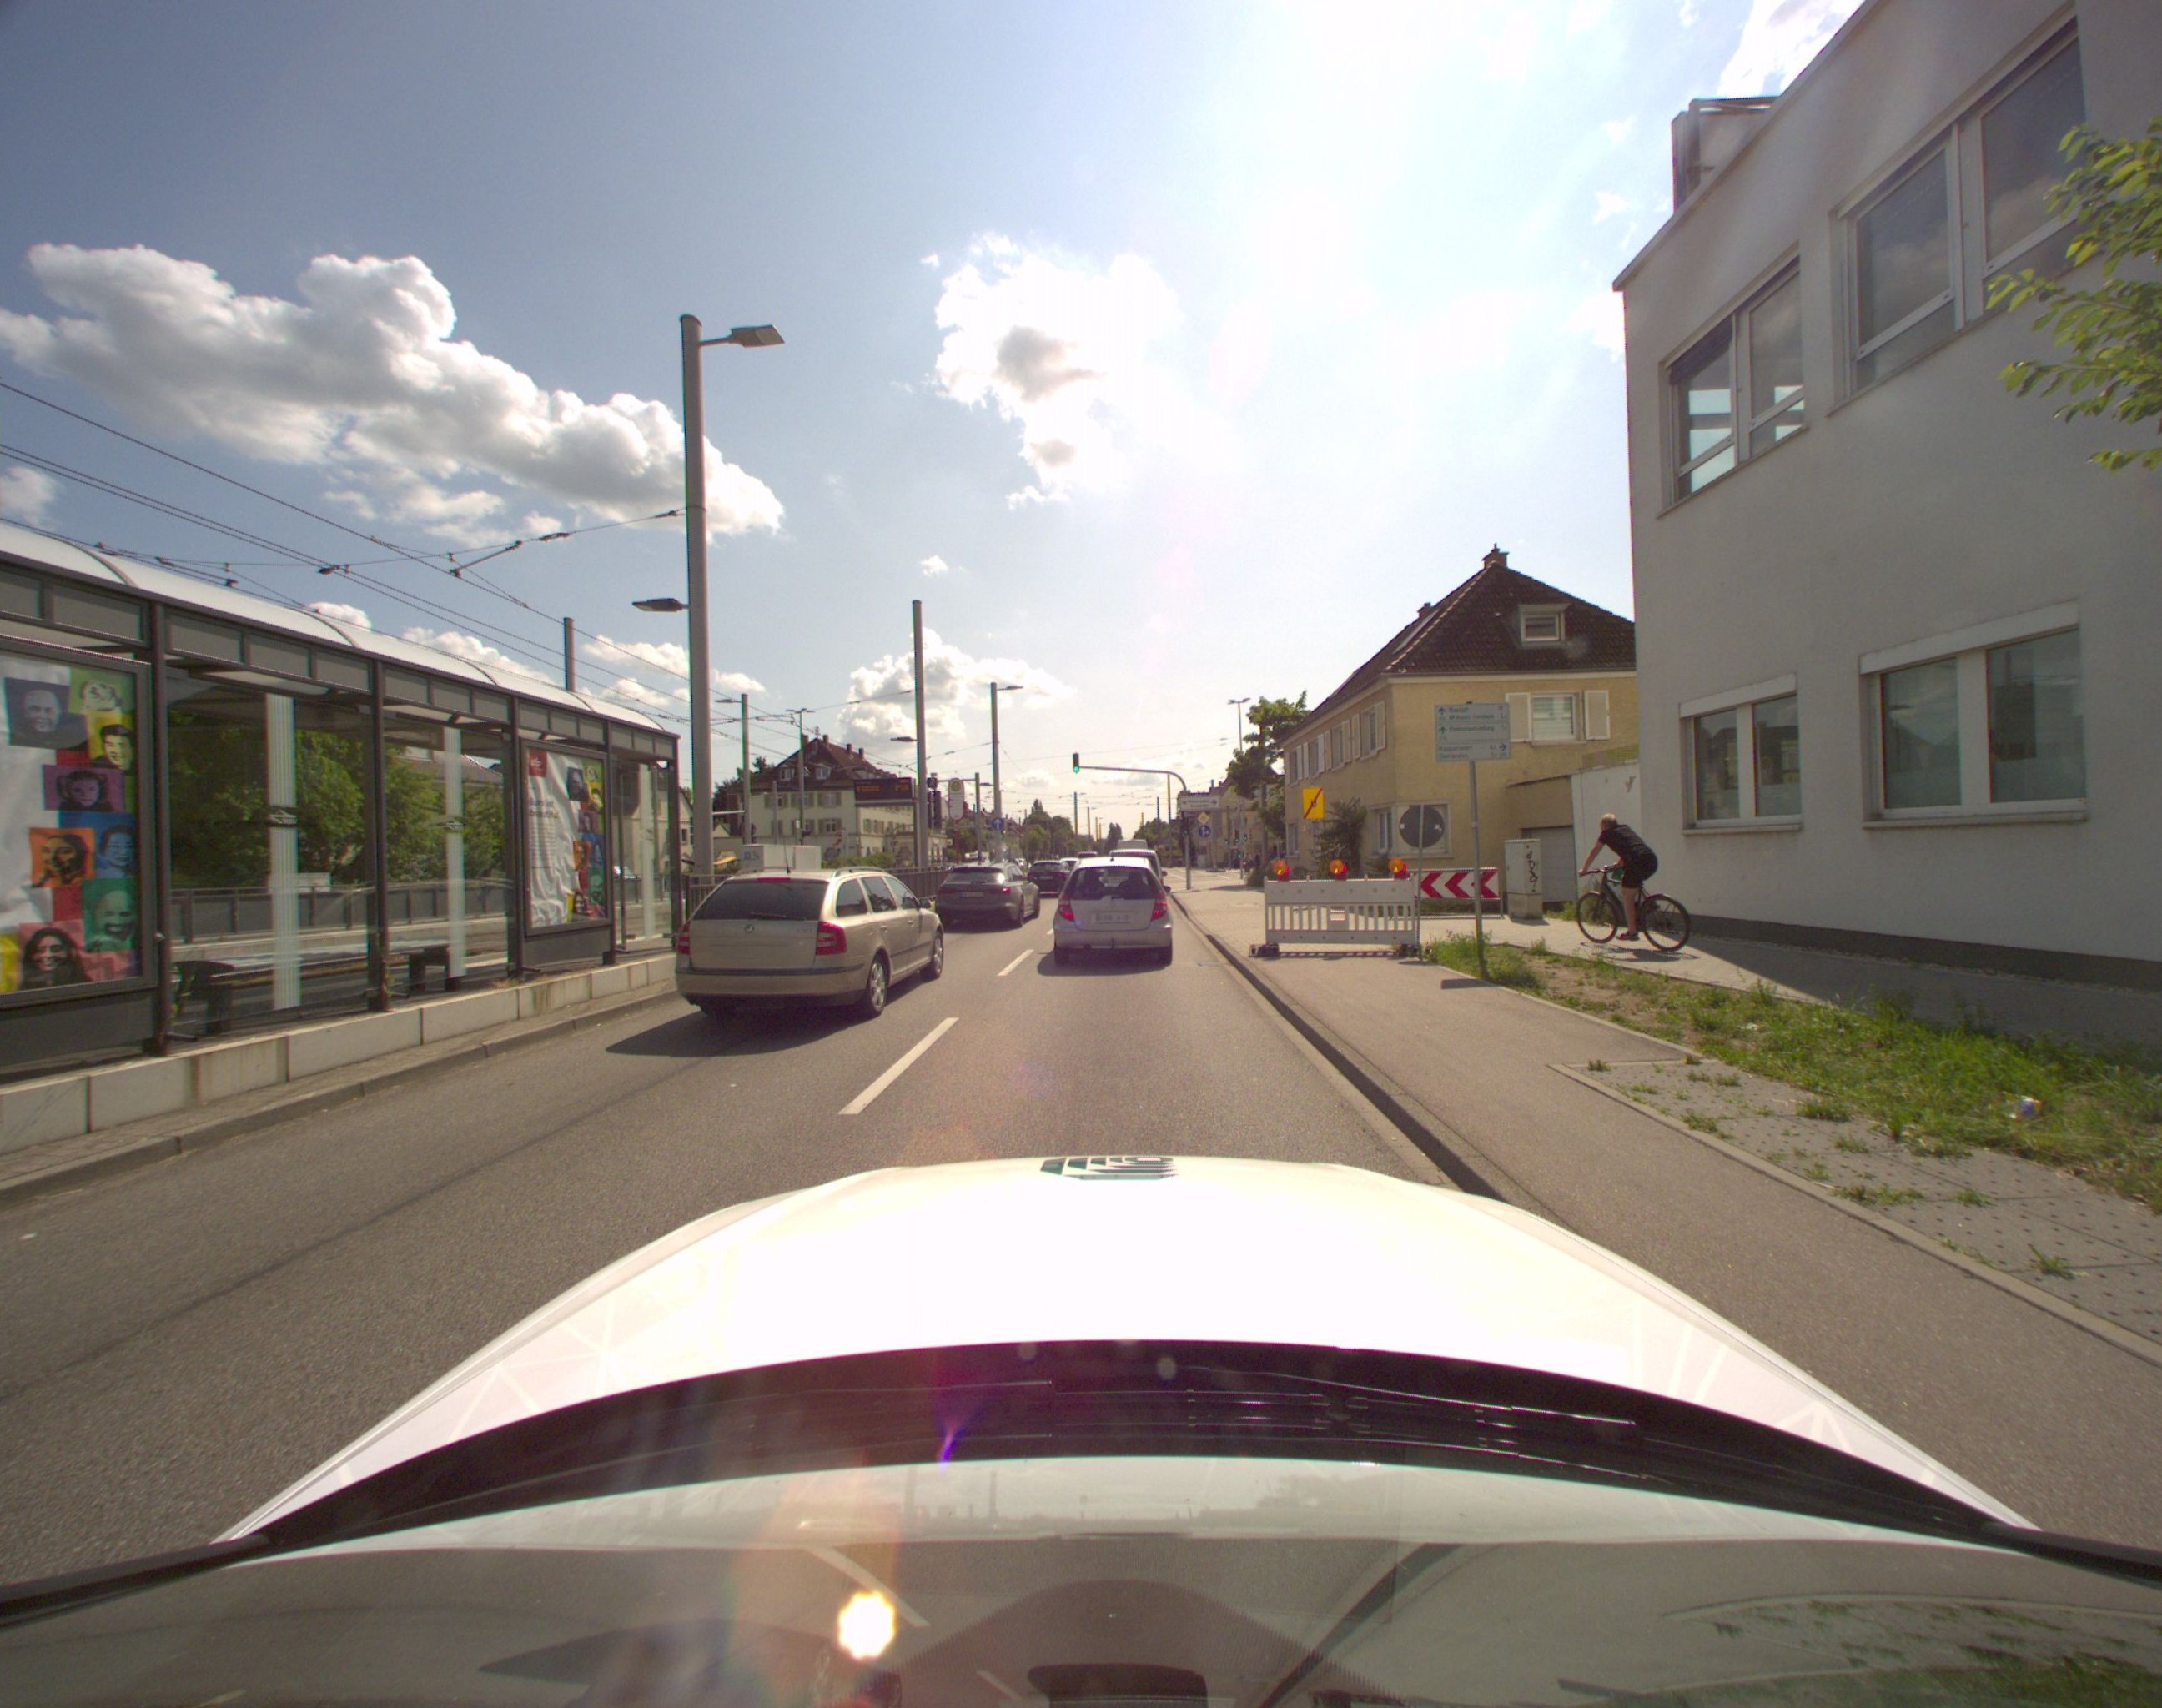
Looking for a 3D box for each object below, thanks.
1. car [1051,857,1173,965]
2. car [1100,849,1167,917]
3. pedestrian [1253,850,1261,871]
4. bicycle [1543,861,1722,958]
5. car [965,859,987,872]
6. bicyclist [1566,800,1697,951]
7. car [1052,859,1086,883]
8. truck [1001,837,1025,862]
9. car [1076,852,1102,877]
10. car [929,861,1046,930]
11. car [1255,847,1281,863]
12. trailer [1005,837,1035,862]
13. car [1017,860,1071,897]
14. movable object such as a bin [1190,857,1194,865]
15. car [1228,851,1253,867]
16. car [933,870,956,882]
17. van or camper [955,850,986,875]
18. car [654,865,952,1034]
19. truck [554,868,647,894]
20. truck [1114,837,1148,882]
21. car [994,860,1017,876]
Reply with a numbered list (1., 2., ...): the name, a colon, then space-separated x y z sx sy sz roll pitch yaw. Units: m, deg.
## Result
1. car: 0.484 0.831 13.515 1.724 1.517 4.017 0 -1 1
2. car: 1.399 0.776 23.031 1.724 1.762 4.017 0 -1 1
3. pedestrian: 13.668 0.518 63.373 0.543 1.643 0.402 -1 -1 8
4. bicycle: 7.048 0.656 10.552 0.827 1.075 1.968 -3 0 -5
5. car: -11.767 1.277 91.448 1.677 1.352 4.182 0 -1 4
6. bicyclist: 7.041 0.259 10.477 0.827 1.794 1.082 -3 0 -6
7. car: -0.683 0.992 48.182 1.845 1.388 3.920 0 -1 2
8. truck: -11.032 -0.720 132.289 2.586 3.821 5.677 -4 0 6
9. car: 0.621 0.799 61.461 1.845 1.843 3.920 0 -1 2
10. car: -2.123 0.908 19.807 1.907 1.477 4.569 0 -1 5
11. car: 19.156 0.101 83.546 1.985 1.596 4.135 0 -1 4
12. trailer: -10.334 -0.820 138.891 2.586 3.821 12.857 -4 0 6
13. car: -1.413 0.970 32.978 1.845 1.388 4.516 0 -1 2
14. movable object such as a bin: 13.703 0.849 100.288 0.466 0.947 0.558 -2 -1 3
15. car: 16.342 0.559 83.556 1.985 1.596 4.135 0 -1 4
16. car: -15.370 2.453 91.826 1.677 1.352 4.348 0 -1 3
17. van or camper: -14.154 1.105 104.790 2.314 2.930 7.762 -3 -1 4
18. car: -2.721 0.851 9.058 1.724 1.449 4.125 0 -1 3
19. truck: -36.046 2.018 61.130 6.154 1.922 1.692 0 -1 5
20. truck: 2.952 0.374 49.265 1.845 2.552 5.857 0 -1 2
21. car: -9.836 1.798 105.939 1.983 1.776 4.886 -4 0 6
